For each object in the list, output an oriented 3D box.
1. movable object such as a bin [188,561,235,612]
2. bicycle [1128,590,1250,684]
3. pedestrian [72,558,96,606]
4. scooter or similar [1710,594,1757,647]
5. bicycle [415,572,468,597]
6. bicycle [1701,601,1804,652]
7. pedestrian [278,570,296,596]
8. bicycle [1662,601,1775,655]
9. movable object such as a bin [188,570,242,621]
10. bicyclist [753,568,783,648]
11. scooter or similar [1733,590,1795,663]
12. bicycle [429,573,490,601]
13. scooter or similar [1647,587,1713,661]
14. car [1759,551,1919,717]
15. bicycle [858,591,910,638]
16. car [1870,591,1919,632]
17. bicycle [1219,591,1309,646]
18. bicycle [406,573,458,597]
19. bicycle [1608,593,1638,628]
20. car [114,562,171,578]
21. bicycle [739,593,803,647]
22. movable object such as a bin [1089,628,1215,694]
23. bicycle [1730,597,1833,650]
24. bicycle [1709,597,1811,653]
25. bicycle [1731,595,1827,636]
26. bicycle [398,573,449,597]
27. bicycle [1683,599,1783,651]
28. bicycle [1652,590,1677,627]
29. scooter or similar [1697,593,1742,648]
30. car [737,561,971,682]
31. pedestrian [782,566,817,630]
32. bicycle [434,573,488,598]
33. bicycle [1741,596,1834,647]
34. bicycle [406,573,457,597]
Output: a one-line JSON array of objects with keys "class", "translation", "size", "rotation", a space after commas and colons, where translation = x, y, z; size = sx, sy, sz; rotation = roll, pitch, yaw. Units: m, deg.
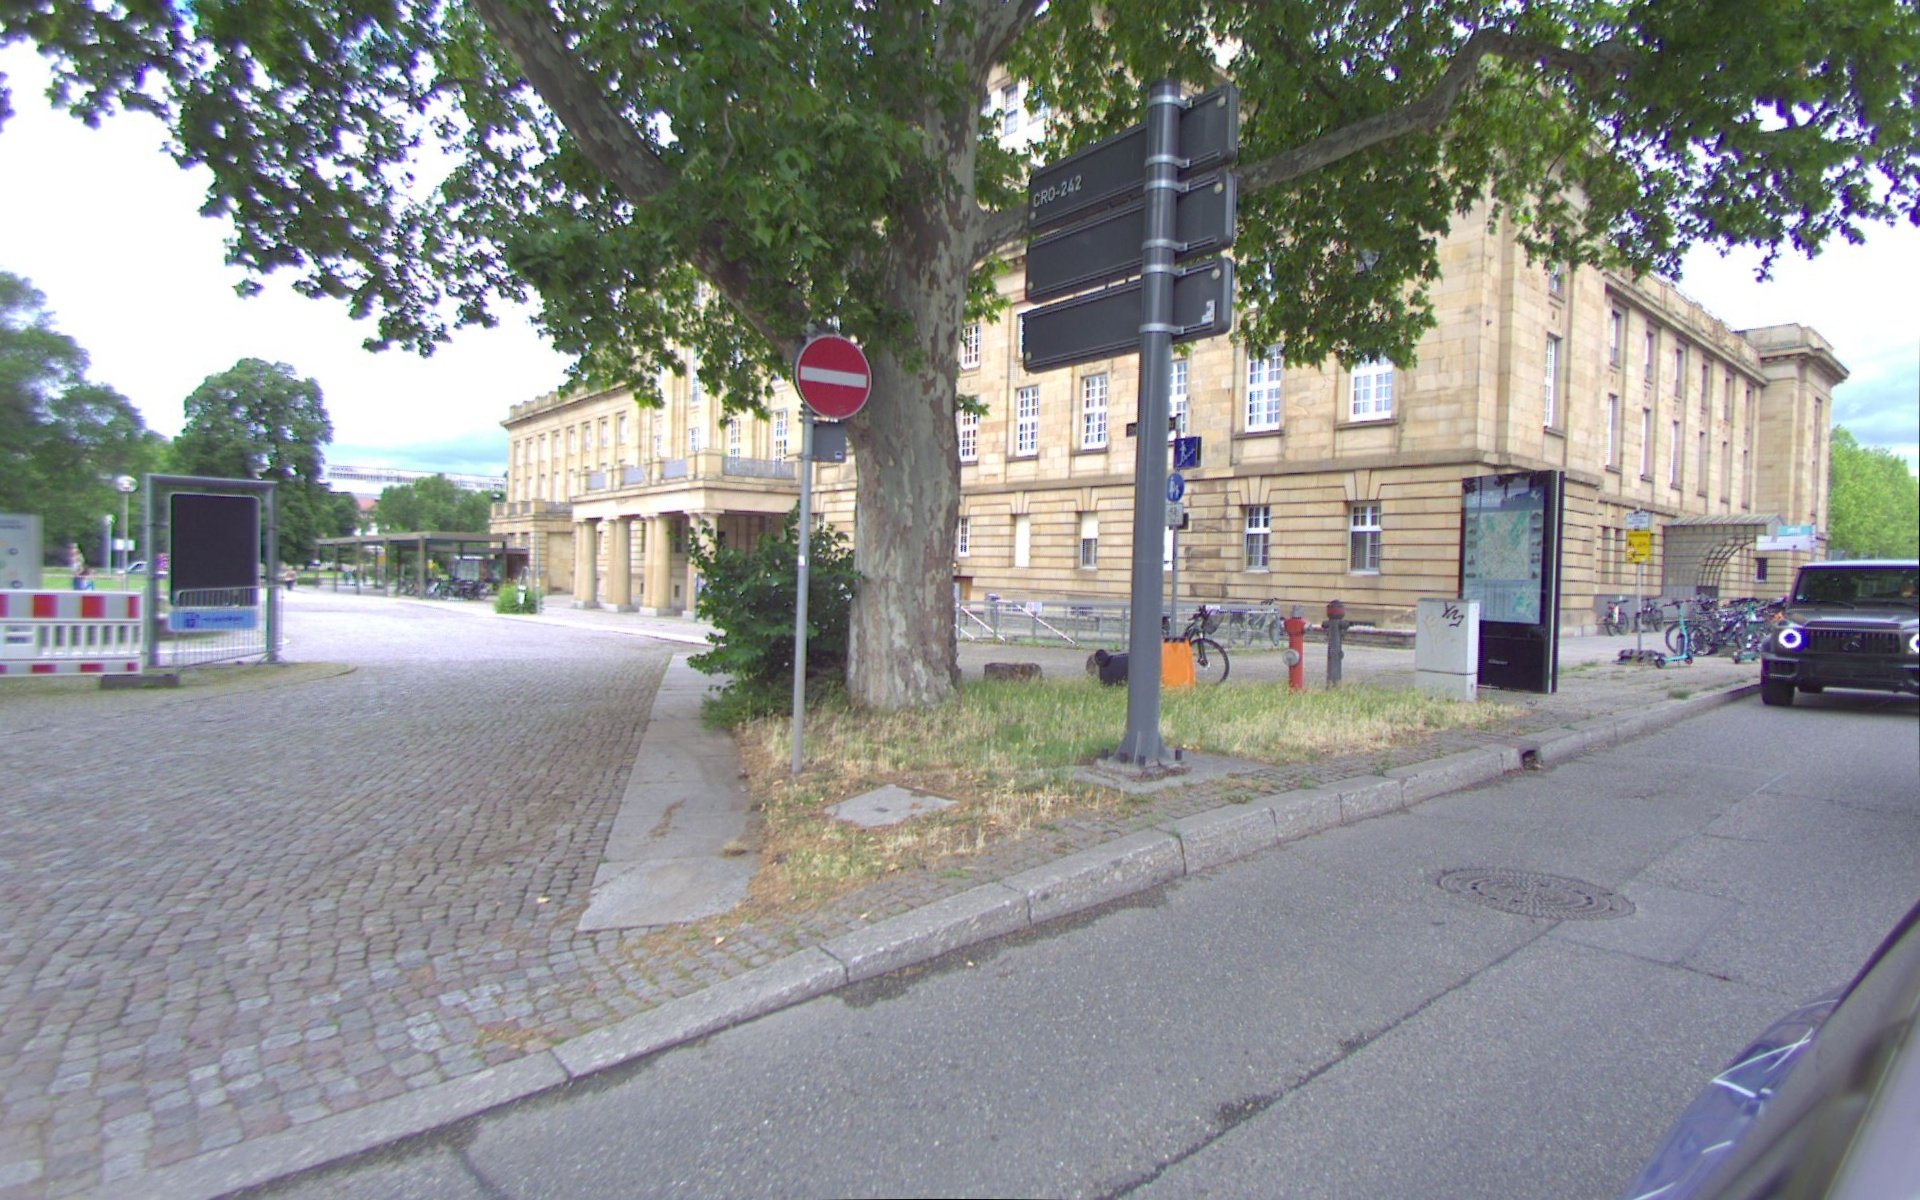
[{"class": "movable object such as a bin", "translation": [-22.829, -0.410, 30.854], "size": [1.132, 1.515, 1.412], "rotation": [0, 1, -38]}, {"class": "bicycle", "translation": [3.211, 0.485, 14.336], "size": [0.483, 1.236, 1.790], "rotation": [0, 1, -37]}, {"class": "pedestrian", "translation": [-33.270, -0.674, 38.437], "size": [0.494, 1.828, 0.543], "rotation": [-1, 0, 22]}, {"class": "scooter or similar", "translation": [18.565, 0.485, 24.282], "size": [1.286, 1.239, 0.427], "rotation": [-1, 0, -31]}, {"class": "bicycle", "translation": [-28.974, -0.887, 56.575], "size": [2.534, 1.362, 0.726], "rotation": [-1, 0, -41]}, {"class": "bicycle", "translation": [17.808, 0.573, 22.775], "size": [0.563, 1.105, 1.735], "rotation": [0, 0, -32]}, {"class": "pedestrian", "translation": [-46.777, -1.171, 70.339], "size": [0.539, 1.828, 0.939], "rotation": [-1, 0, 22]}, {"class": "bicycle", "translation": [16.441, 0.583, 21.975], "size": [0.652, 1.105, 1.866], "rotation": [0, 0, -28]}, {"class": "movable object such as a bin", "translation": [-20.001, -0.129, 27.168], "size": [1.132, 1.320, 1.412], "rotation": [0, 1, -38]}, {"class": "bicyclist", "translation": [-4.319, 0.180, 22.760], "size": [0.436, 1.770, 0.468], "rotation": [2, 1, 42]}, {"class": "scooter or similar", "translation": [15.596, 0.487, 19.629], "size": [1.389, 1.348, 0.726], "rotation": [0, 0, -42]}, {"class": "bicycle", "translation": [-27.202, -0.700, 55.041], "size": [2.852, 1.443, 0.959], "rotation": [-1, 0, -45]}, {"class": "scooter or similar", "translation": [13.099, 0.418, 18.412], "size": [1.405, 1.296, 0.433], "rotation": [0, 0, -30]}, {"class": "car", "translation": [12.544, 0.376, 13.692], "size": [4.322, 1.950, 1.951], "rotation": [0, 1, -41]}, {"class": "bicycle", "translation": [-1.968, 0.355, 26.067], "size": [0.365, 1.114, 1.872], "rotation": [0, 1, -37]}, {"class": "car", "translation": [36.794, 0.427, 39.366], "size": [3.792, 1.473, 1.618], "rotation": [0, 3, -42]}, {"class": "bicycle", "translation": [6.771, 0.382, 22.637], "size": [0.382, 1.139, 2.014], "rotation": [0, 1, -41]}, {"class": "bicycle", "translation": [-30.147, -0.873, 57.842], "size": [2.534, 1.362, 0.726], "rotation": [-1, 0, -41]}, {"class": "bicycle", "translation": [20.120, 0.308, 30.703], "size": [1.929, 1.010, 0.240], "rotation": [-1, 1, -42]}, {"class": "car", "translation": [-90.322, -3.289, 111.830], "size": [4.823, 1.761, 2.077], "rotation": [-1, 0, -38]}, {"class": "bicycle", "translation": [-4.289, 0.428, 22.908], "size": [1.748, 1.146, 0.437], "rotation": [2, 1, 42]}, {"class": "movable object such as a bin", "translation": [2.180, 0.673, 11.609], "size": [0.715, 0.660, 1.304], "rotation": [-1, 0, -32]}, {"class": "bicycle", "translation": [17.856, 0.491, 22.040], "size": [0.373, 1.105, 1.736], "rotation": [0, 0, -28]}, {"class": "bicycle", "translation": [18.184, 0.541, 23.025], "size": [0.594, 1.224, 1.759], "rotation": [0, 0, -43]}, {"class": "bicycle", "translation": [19.883, 0.362, 24.615], "size": [0.601, 0.928, 1.737], "rotation": [0, 1, -22]}, {"class": "bicycle", "translation": [-31.440, -0.859, 59.322], "size": [2.534, 1.362, 0.726], "rotation": [-1, 0, -41]}, {"class": "bicycle", "translation": [16.982, 0.529, 22.284], "size": [0.417, 1.105, 1.736], "rotation": [0, 0, -28]}, {"class": "bicycle", "translation": [23.479, 0.278, 33.702], "size": [1.510, 1.197, 0.276], "rotation": [0, 0, -39]}, {"class": "scooter or similar", "translation": [18.428, 0.482, 24.554], "size": [1.126, 1.295, 0.564], "rotation": [0, 0, -35]}, {"class": "car", "translation": [-1.704, 0.238, 15.256], "size": [1.649, 1.588, 3.844], "rotation": [0, 1, -40]}, {"class": "pedestrian", "translation": [-4.448, -0.057, 28.033], "size": [0.692, 1.743, 0.680], "rotation": [0, 1, -42]}, {"class": "bicycle", "translation": [-27.147, -0.800, 55.115], "size": [2.534, 1.362, 0.726], "rotation": [-1, 0, -41]}, {"class": "bicycle", "translation": [19.094, 0.477, 23.383], "size": [1.597, 1.144, 0.405], "rotation": [0, 0, 24]}, {"class": "bicycle", "translation": [-30.633, -0.869, 58.713], "size": [2.534, 1.362, 0.726], "rotation": [-1, 0, -41]}]
